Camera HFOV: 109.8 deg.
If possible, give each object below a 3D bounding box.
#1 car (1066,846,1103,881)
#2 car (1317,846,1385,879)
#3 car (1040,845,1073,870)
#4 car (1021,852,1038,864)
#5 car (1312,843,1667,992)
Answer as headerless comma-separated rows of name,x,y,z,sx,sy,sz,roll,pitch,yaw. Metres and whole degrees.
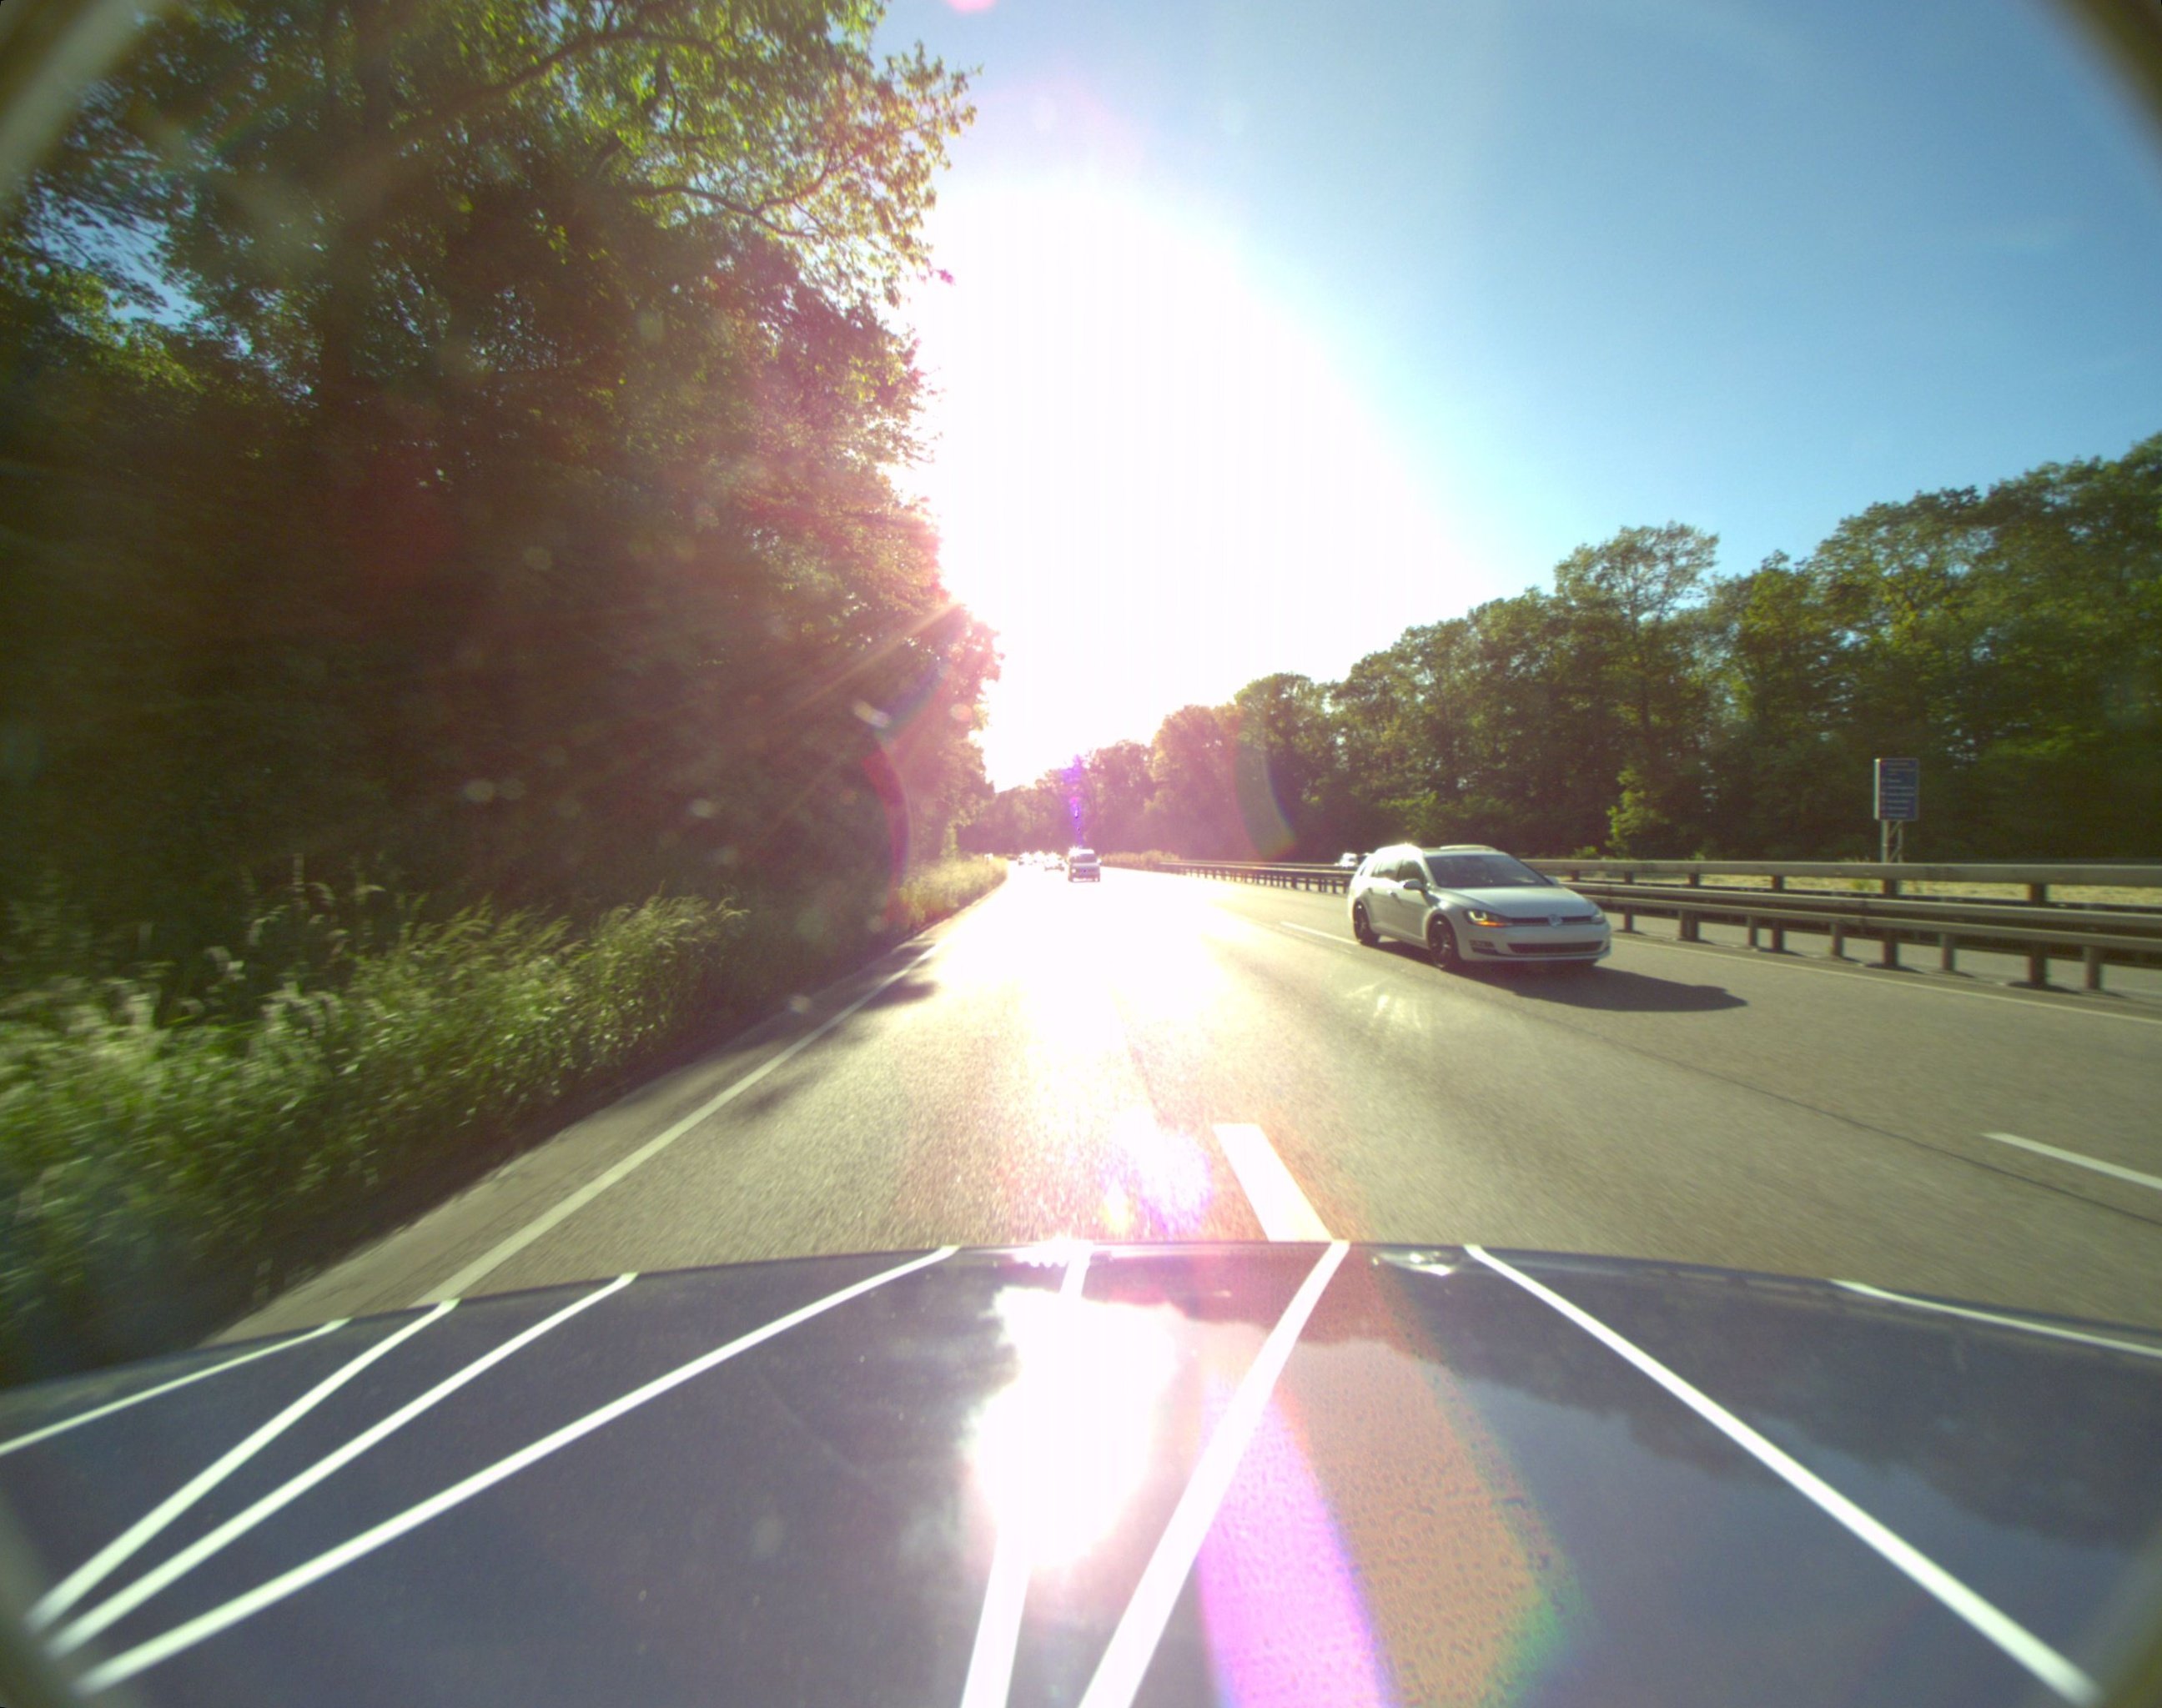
car,0.143,0.508,44.328,1.800,1.797,4.830,-2,1,-3
car,15.999,0.446,45.392,1.999,1.837,5.309,-2,1,-2
car,-2.283,0.283,69.282,2.258,1.843,5.134,-2,4,-9
car,-6.942,0.560,102.160,1.935,1.499,5.082,-1,1,-7
car,5.106,0.647,10.698,1.934,1.499,5.598,-2,0,0
